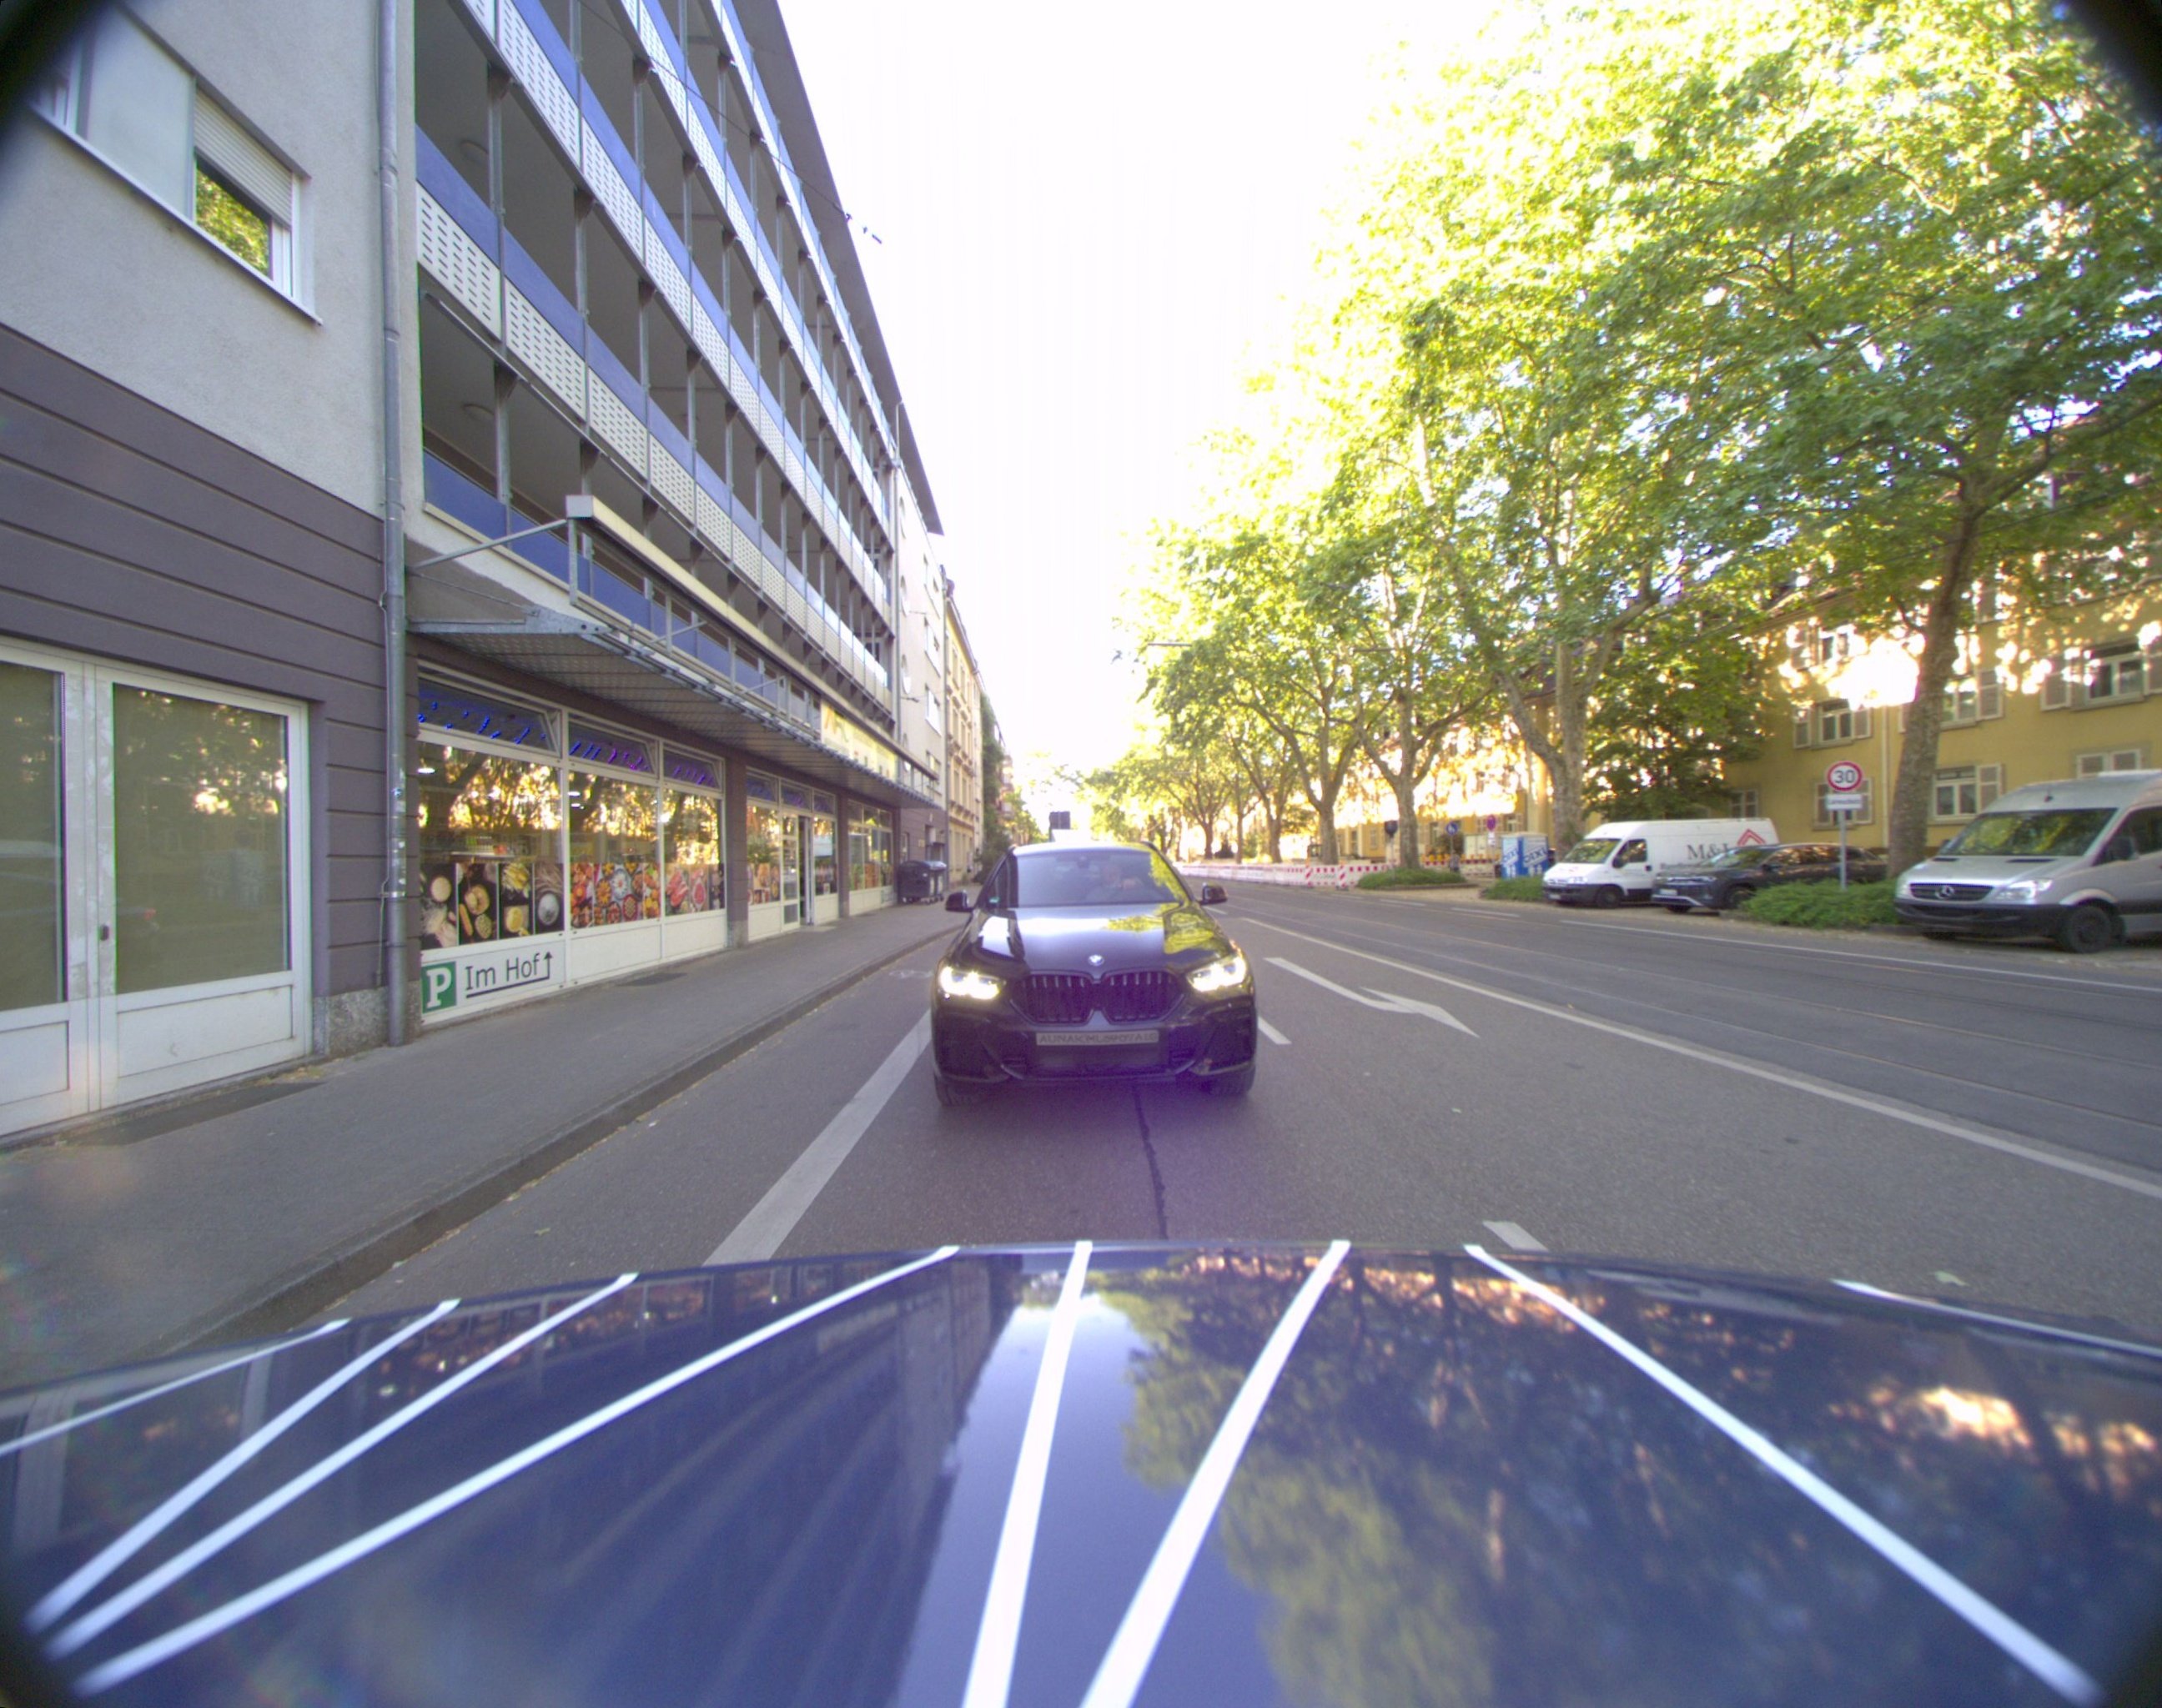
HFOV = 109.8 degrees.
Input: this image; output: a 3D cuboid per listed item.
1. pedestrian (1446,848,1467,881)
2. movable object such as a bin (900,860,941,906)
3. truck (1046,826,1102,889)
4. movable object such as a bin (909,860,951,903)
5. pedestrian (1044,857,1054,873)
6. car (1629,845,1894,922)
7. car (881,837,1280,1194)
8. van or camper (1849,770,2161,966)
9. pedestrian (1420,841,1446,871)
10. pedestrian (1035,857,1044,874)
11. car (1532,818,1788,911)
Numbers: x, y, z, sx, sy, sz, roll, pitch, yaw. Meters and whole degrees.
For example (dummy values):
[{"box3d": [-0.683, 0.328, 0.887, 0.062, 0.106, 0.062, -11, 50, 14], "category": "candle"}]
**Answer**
[{"box3d": [18.340, 0.506, 37.123, 0.597, 1.563, 0.716, -1, 0, -15], "category": "pedestrian"}, {"box3d": [-5.227, 0.936, 24.811, 1.069, 1.438, 1.296, -1, 0, -1], "category": "movable object such as a bin"}, {"box3d": [-0.575, 0.205, 43.156, 2.385, 3.165, 8.525, 2, 0, -5], "category": "truck"}, {"box3d": [-5.287, 0.956, 26.707, 1.122, 1.437, 1.306, -1, 0, 4], "category": "movable object such as a bin"}, {"box3d": [-3.480, 1.196, 82.492, 0.876, 1.728, 0.848, -3, 1, 1], "category": "pedestrian"}, {"box3d": [15.941, 0.660, 17.973, 4.575, 1.621, 1.969, -1, 0, -2], "category": "car"}, {"box3d": [0.021, 0.826, 6.058, 1.943, 1.733, 4.475, -2, 0, 1], "category": "car"}, {"box3d": [16.090, 0.131, 11.800, 6.127, 2.661, 2.229, -2, 0, -2], "category": "van or camper"}, {"box3d": [23.768, 0.117, 51.301, 1.098, 2.002, 1.235, -1, 0, -4], "category": "pedestrian"}, {"box3d": [-4.483, 1.247, 82.302, 0.876, 1.728, 0.848, -3, 1, 1], "category": "pedestrian"}, {"box3d": [15.852, 0.277, 21.000, 5.612, 2.361, 2.025, -1, 0, -2], "category": "car"}]
